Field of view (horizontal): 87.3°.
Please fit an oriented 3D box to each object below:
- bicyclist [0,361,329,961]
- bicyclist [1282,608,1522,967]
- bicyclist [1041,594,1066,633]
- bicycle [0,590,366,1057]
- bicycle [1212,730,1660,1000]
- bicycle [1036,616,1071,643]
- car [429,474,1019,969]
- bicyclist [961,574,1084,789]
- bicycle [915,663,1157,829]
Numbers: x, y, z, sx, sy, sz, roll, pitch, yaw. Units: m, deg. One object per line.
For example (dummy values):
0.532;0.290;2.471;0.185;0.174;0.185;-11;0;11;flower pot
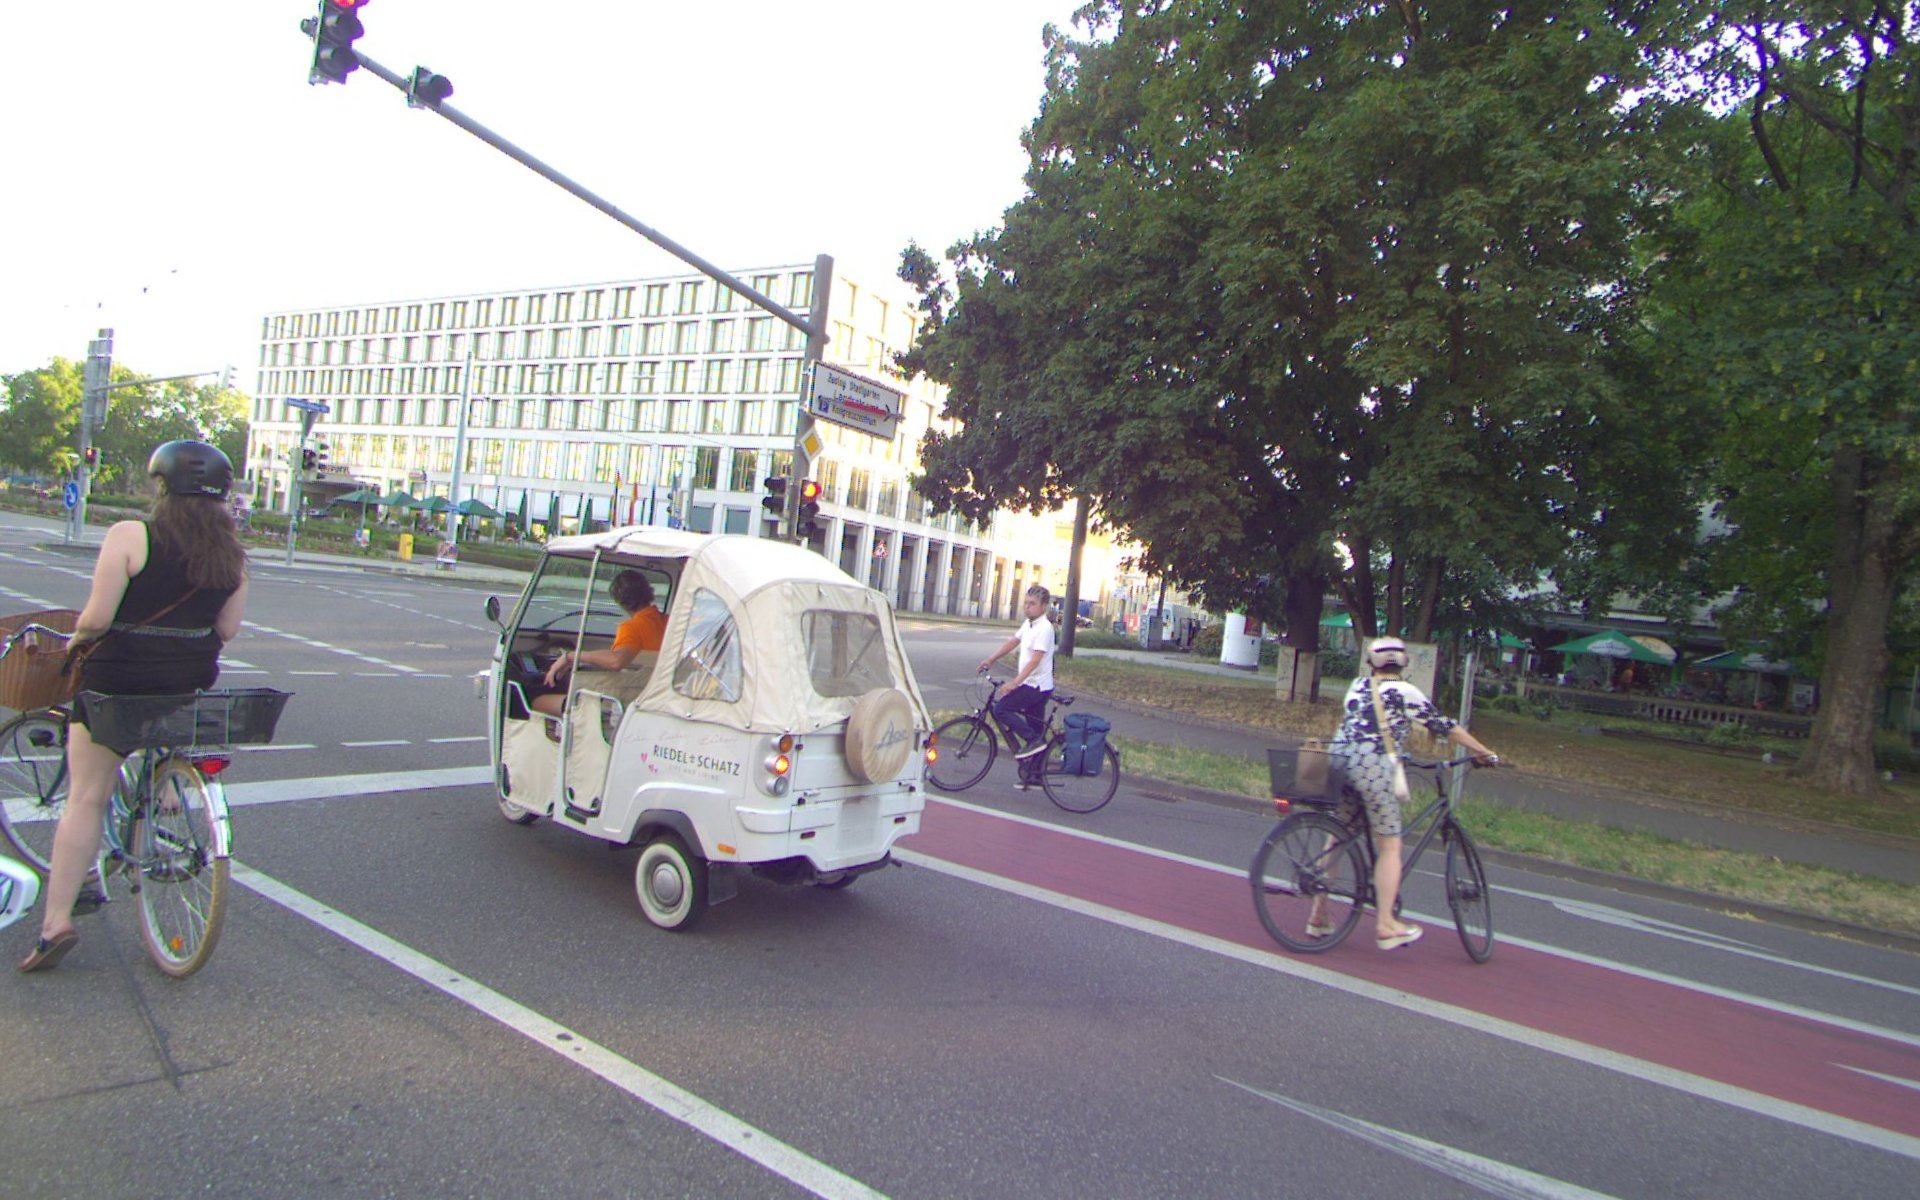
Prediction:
-2.678;0.162;3.315;0.736;1.714;0.629;7;1;31;bicyclist
2.303;0.941;5.330;0.735;1.714;0.714;6;1;-6;bicyclist
4.376;0.624;47.179;0.704;1.714;0.746;7;1;35;bicyclist
-2.990;0.608;3.498;2.035;1.082;0.638;7;0;32;bicycle
2.487;1.382;5.365;1.987;1.082;0.730;7;0;-8;bicycle
4.409;1.416;47.354;0.719;1.082;1.898;7;-1;34;bicycle
-1.252;0.438;5.180;2.523;1.803;1.460;8;1;34;car
0.559;0.683;8.780;0.734;1.714;0.765;7;1;18;bicyclist
0.668;1.218;8.742;1.867;1.081;0.731;7;-1;18;bicycle
